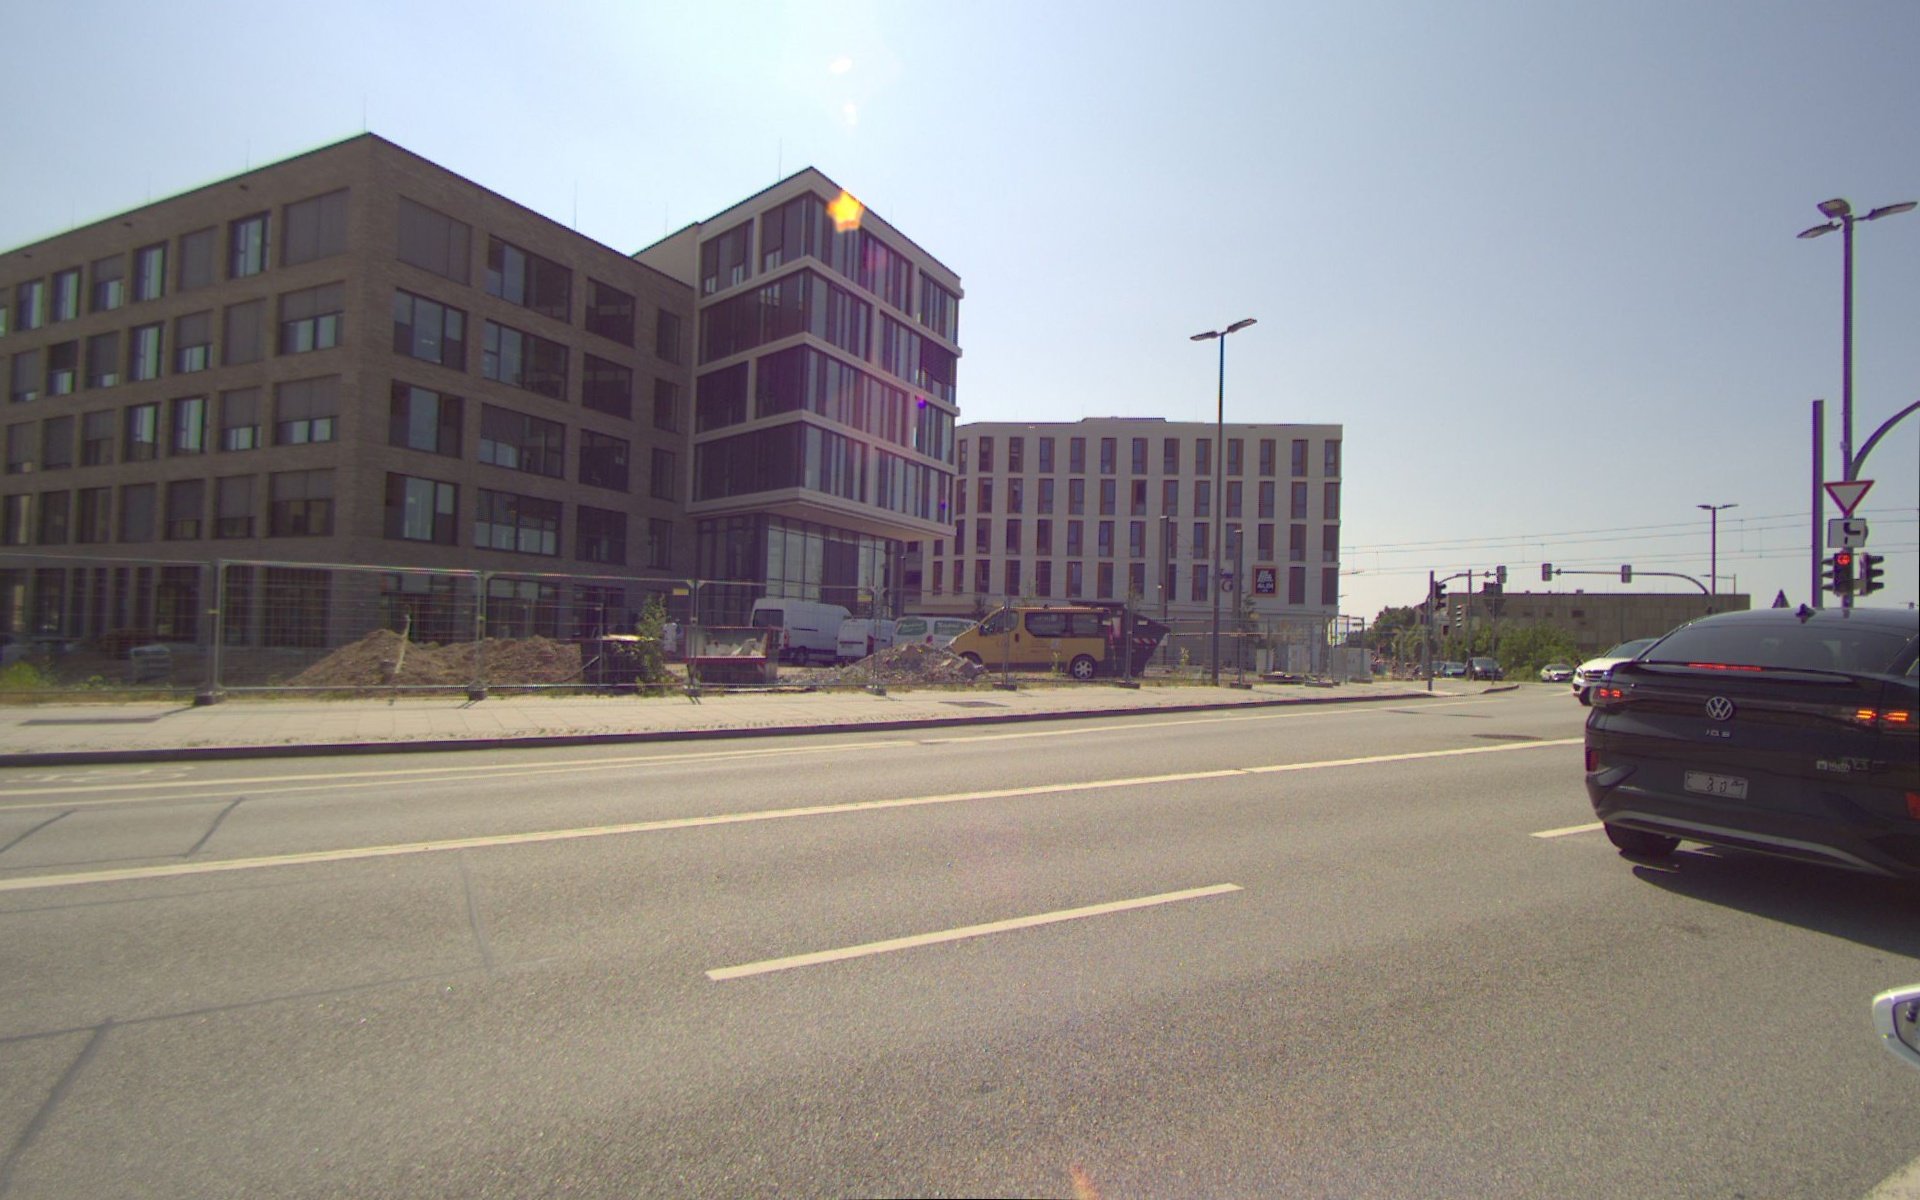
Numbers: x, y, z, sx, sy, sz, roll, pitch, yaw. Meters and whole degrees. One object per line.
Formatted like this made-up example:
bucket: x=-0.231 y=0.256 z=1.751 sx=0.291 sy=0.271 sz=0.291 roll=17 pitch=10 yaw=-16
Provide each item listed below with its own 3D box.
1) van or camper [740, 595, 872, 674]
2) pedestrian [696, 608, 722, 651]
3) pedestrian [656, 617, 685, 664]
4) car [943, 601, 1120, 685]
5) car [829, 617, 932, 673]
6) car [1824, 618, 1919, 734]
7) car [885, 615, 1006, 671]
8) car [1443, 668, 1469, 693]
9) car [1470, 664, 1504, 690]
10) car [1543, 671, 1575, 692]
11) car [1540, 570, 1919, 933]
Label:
van or camper: x=-5.856 y=1.314 z=38.816 sx=2.273 sy=2.772 sz=4.974 roll=2 pitch=0 yaw=33
pedestrian: x=-10.581 y=1.244 z=42.391 sx=0.734 sy=1.741 sz=0.699 roll=2 pitch=0 yaw=17
pedestrian: x=-10.915 y=1.520 z=37.843 sx=0.734 sy=1.741 sz=0.699 roll=2 pitch=0 yaw=17
car: x=1.989 y=1.114 z=27.263 sx=4.533 sy=1.988 sz=1.991 roll=2 pitch=0 yaw=10
car: x=-2.881 y=1.627 z=37.117 sx=1.760 sy=1.881 sz=3.841 roll=2 pitch=0 yaw=33
car: x=14.652 y=1.122 z=14.992 sx=3.720 sy=1.568 sz=1.589 roll=2 pitch=0 yaw=-32
car: x=-0.424 y=1.495 z=35.853 sx=1.841 sy=1.797 sz=4.636 roll=2 pitch=0 yaw=37
car: x=36.702 y=5.926 z=74.333 sx=1.541 sy=1.608 sz=3.477 roll=2 pitch=0 yaw=24
car: x=34.667 y=5.059 z=66.123 sx=1.646 sy=1.496 sz=3.405 roll=0 pitch=-1 yaw=22
car: x=45.643 y=6.216 z=76.554 sx=1.578 sy=1.357 sz=2.924 roll=2 pitch=0 yaw=21
car: x=5.874 y=0.761 z=6.428 sx=4.314 sy=1.663 sz=1.793 roll=2 pitch=0 yaw=-30
